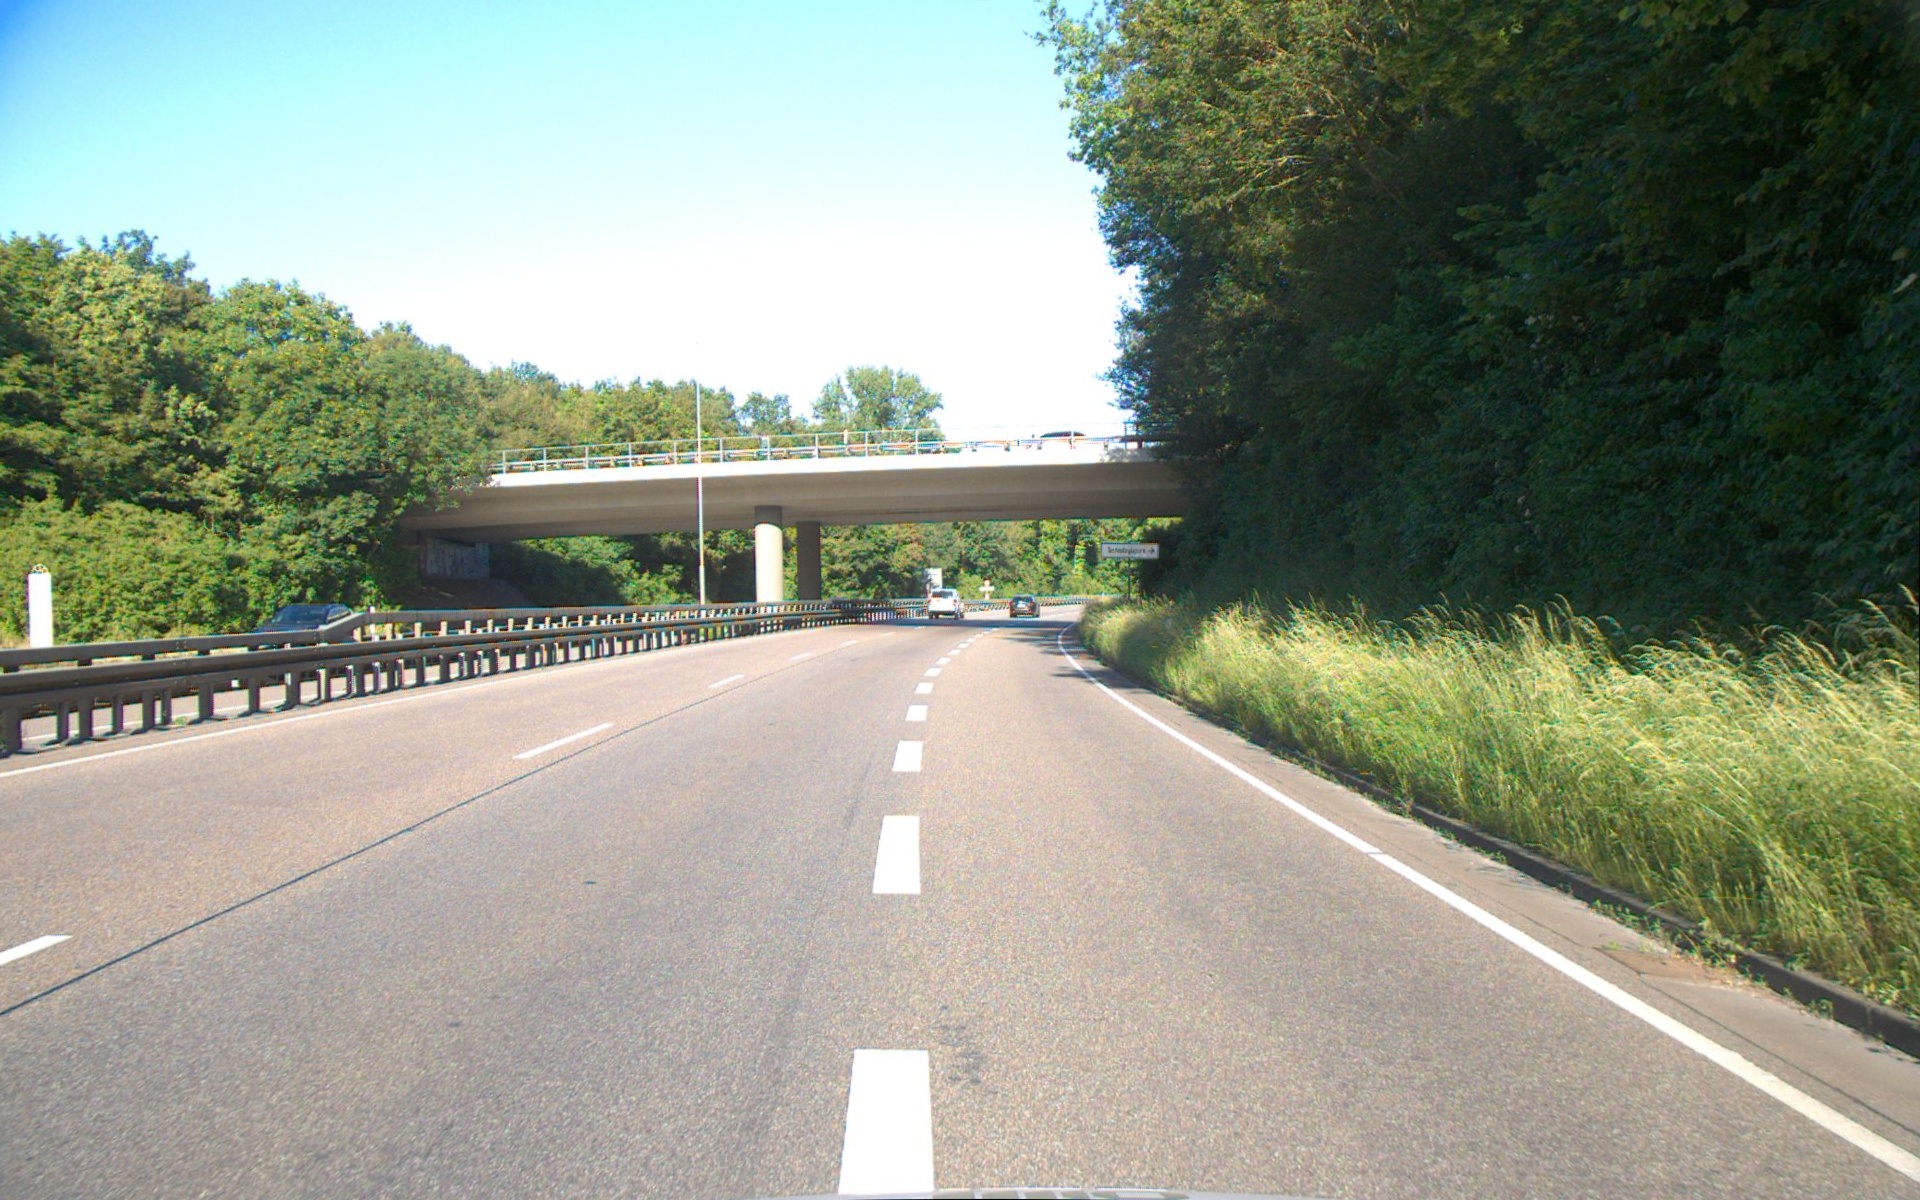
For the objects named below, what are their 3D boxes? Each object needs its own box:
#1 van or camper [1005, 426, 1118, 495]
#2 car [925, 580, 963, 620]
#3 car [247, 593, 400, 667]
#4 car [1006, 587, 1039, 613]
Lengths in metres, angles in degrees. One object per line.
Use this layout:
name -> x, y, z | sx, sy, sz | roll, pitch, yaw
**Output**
van or camper -> 4.294, -5.841, 69.628 | 4.509, 2.685, 2.002 | 0, -1, 12
car -> -0.943, 0.003, 100.285 | 1.951, 2.317, 4.002 | -1, 0, 5
car -> -17.059, 0.758, 44.637 | 1.952, 1.880, 5.311 | 0, 0, 1
car -> 4.139, 0.004, 109.553 | 1.702, 1.691, 3.949 | -1, 0, 9
